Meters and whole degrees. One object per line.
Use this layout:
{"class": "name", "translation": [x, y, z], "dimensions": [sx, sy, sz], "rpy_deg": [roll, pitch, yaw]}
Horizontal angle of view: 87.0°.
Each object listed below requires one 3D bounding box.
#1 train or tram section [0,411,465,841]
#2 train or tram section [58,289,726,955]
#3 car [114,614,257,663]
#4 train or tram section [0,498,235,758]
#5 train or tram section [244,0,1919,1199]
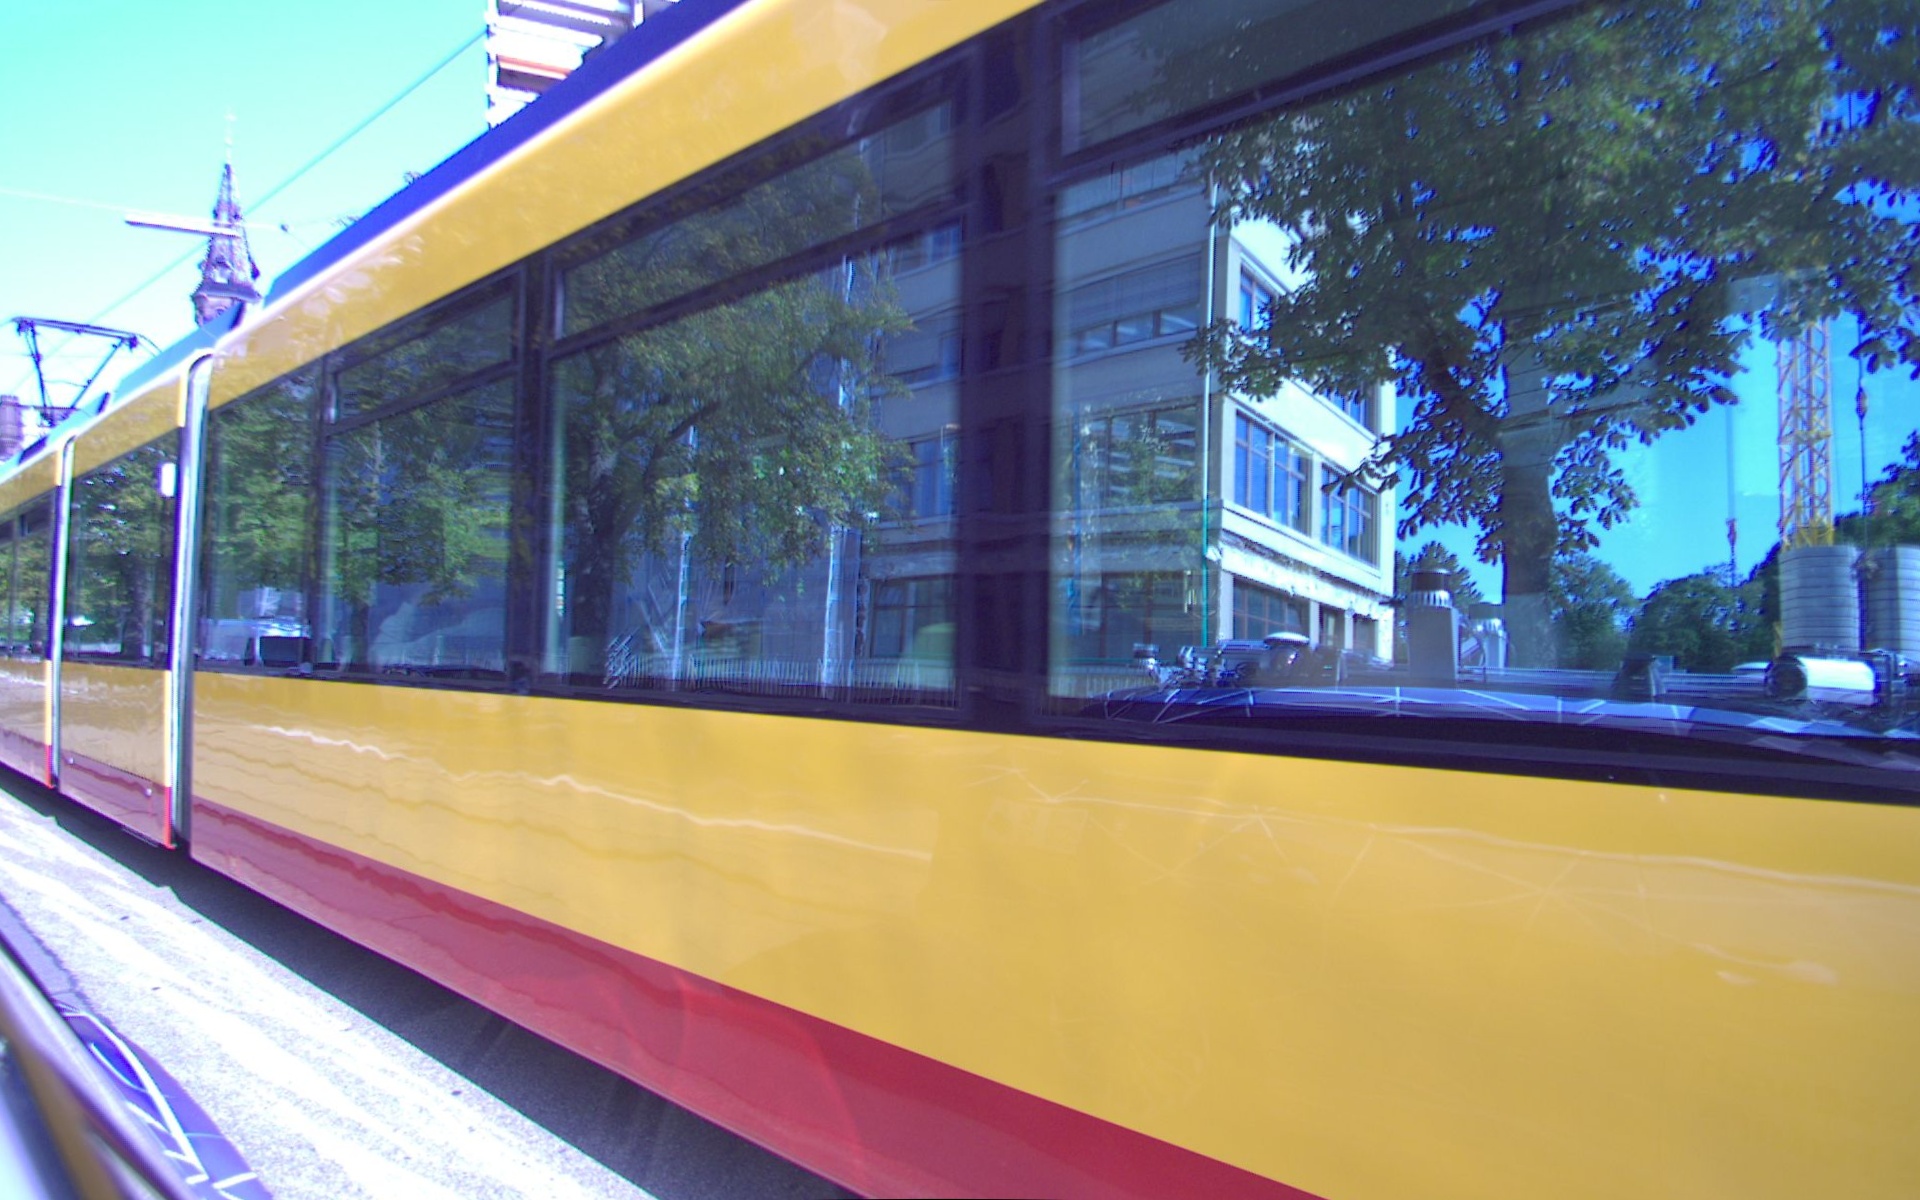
{"class": "train or tram section", "translation": [-7.682, 0.247, 9.910], "dimensions": [6.538, 2.871, 2.701], "rpy_deg": [-2, -1, 40]}
{"class": "train or tram section", "translation": [-3.742, 0.132, 6.587], "dimensions": [3.646, 2.878, 2.679], "rpy_deg": [-2, -1, 40]}
{"class": "car", "translation": [-28.250, 1.358, 37.077], "dimensions": [1.769, 1.490, 3.988], "rpy_deg": [-2, 1, 10]}
{"class": "train or tram section", "translation": [-16.132, 0.480, 17.007], "dimensions": [15.441, 2.916, 2.701], "rpy_deg": [-2, -1, 40]}
{"class": "train or tram section", "translation": [1.917, -0.036, 1.853], "dimensions": [10.534, 2.883, 2.653], "rpy_deg": [-2, -1, 40]}
